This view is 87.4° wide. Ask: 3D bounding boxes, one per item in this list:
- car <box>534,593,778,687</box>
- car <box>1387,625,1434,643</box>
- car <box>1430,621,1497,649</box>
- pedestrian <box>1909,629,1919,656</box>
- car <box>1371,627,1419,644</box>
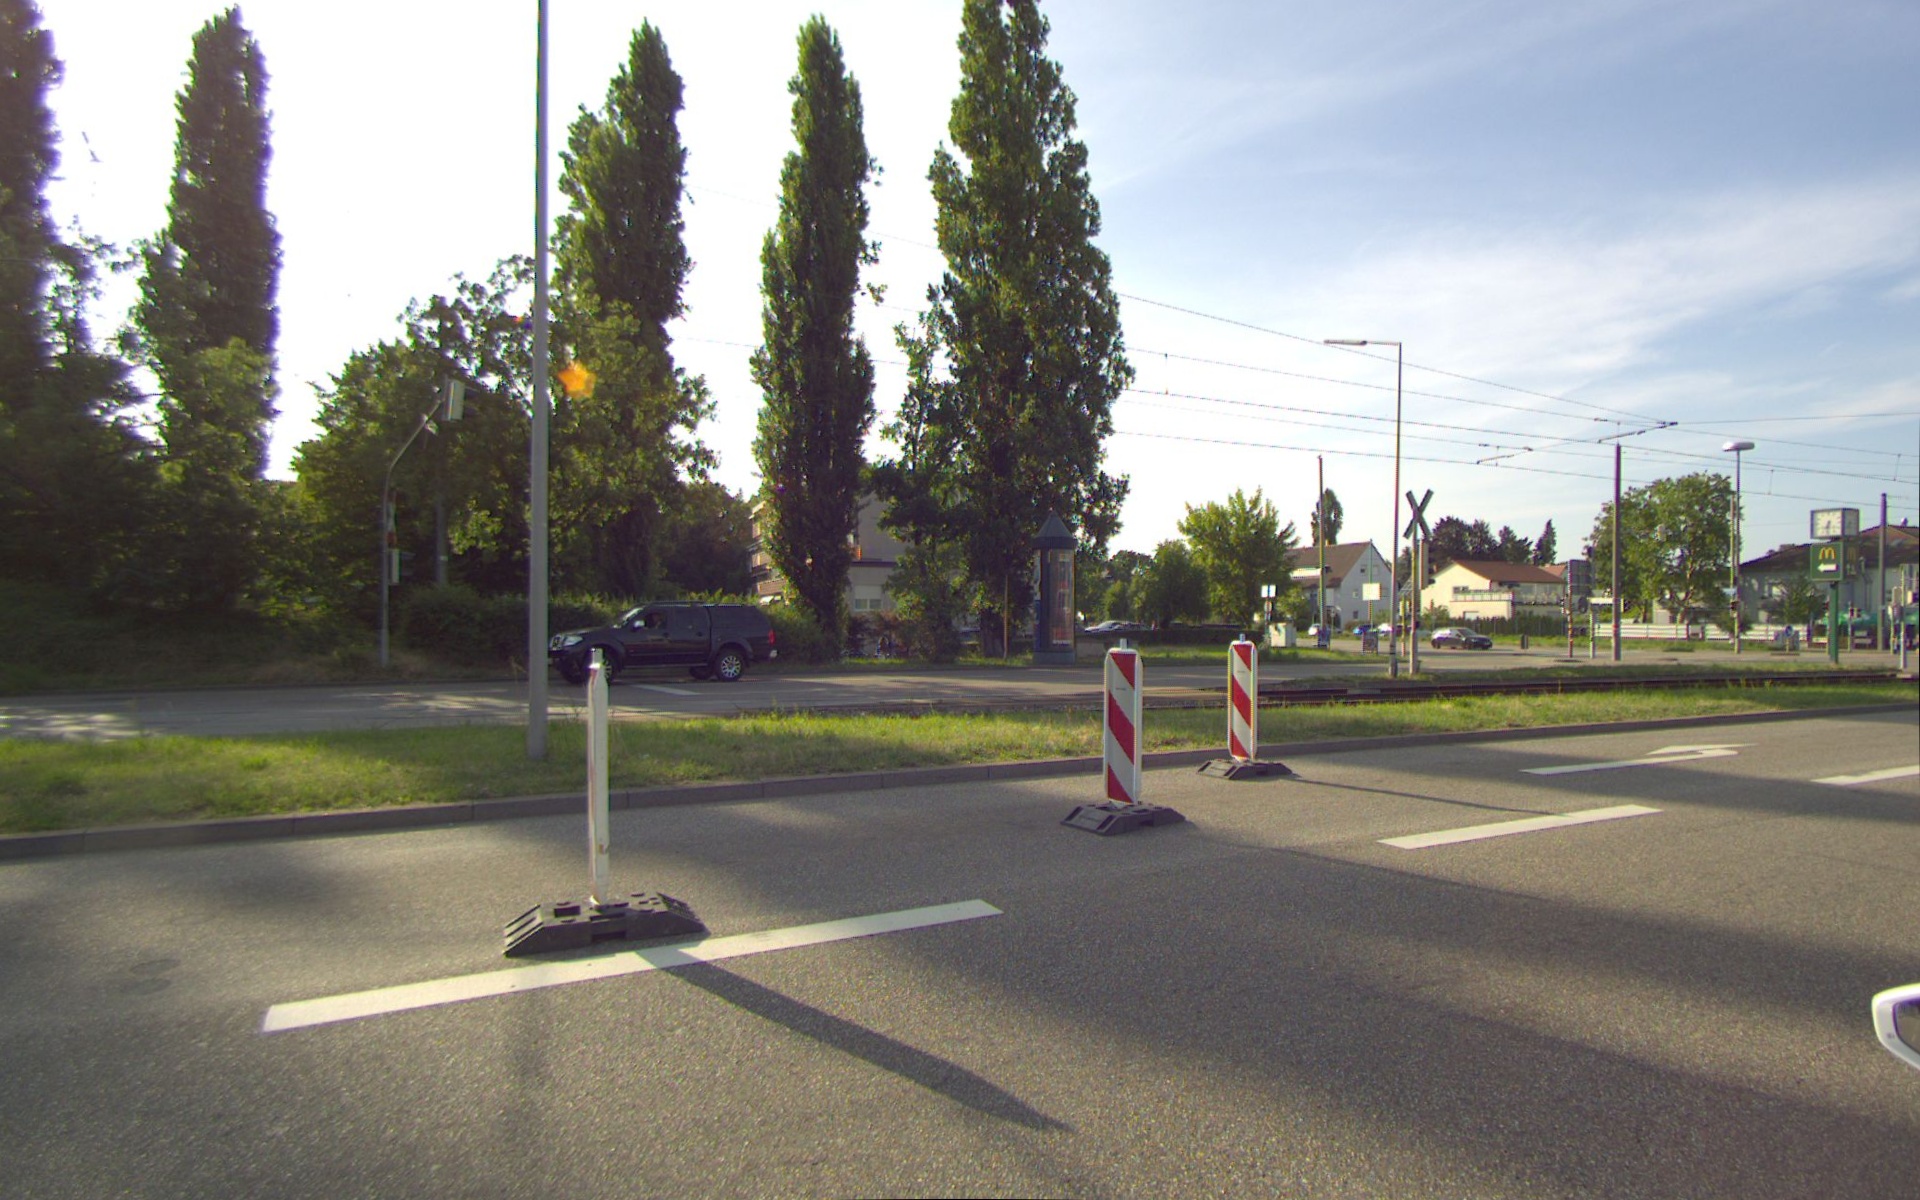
[{"bbox_3d":[-7.215,0.939,24.245,5.313,2.040,1.977,1,-2,-40],"label":"car"},{"bbox_3d":[45.563,3.418,101.574,4.155,1.706,1.991,2,0,-20],"label":"car"},{"bbox_3d":[33.673,2.302,67.274,1.498,1.816,3.977,1,-1,-24],"label":"car"},{"bbox_3d":[57.657,2.572,60.525,0.532,1.620,0.510,1,-1,-27],"label":"pedestrian"},{"bbox_3d":[39.412,3.233,91.186,1.967,1.505,3.988,1,-1,-15],"label":"car"}]
